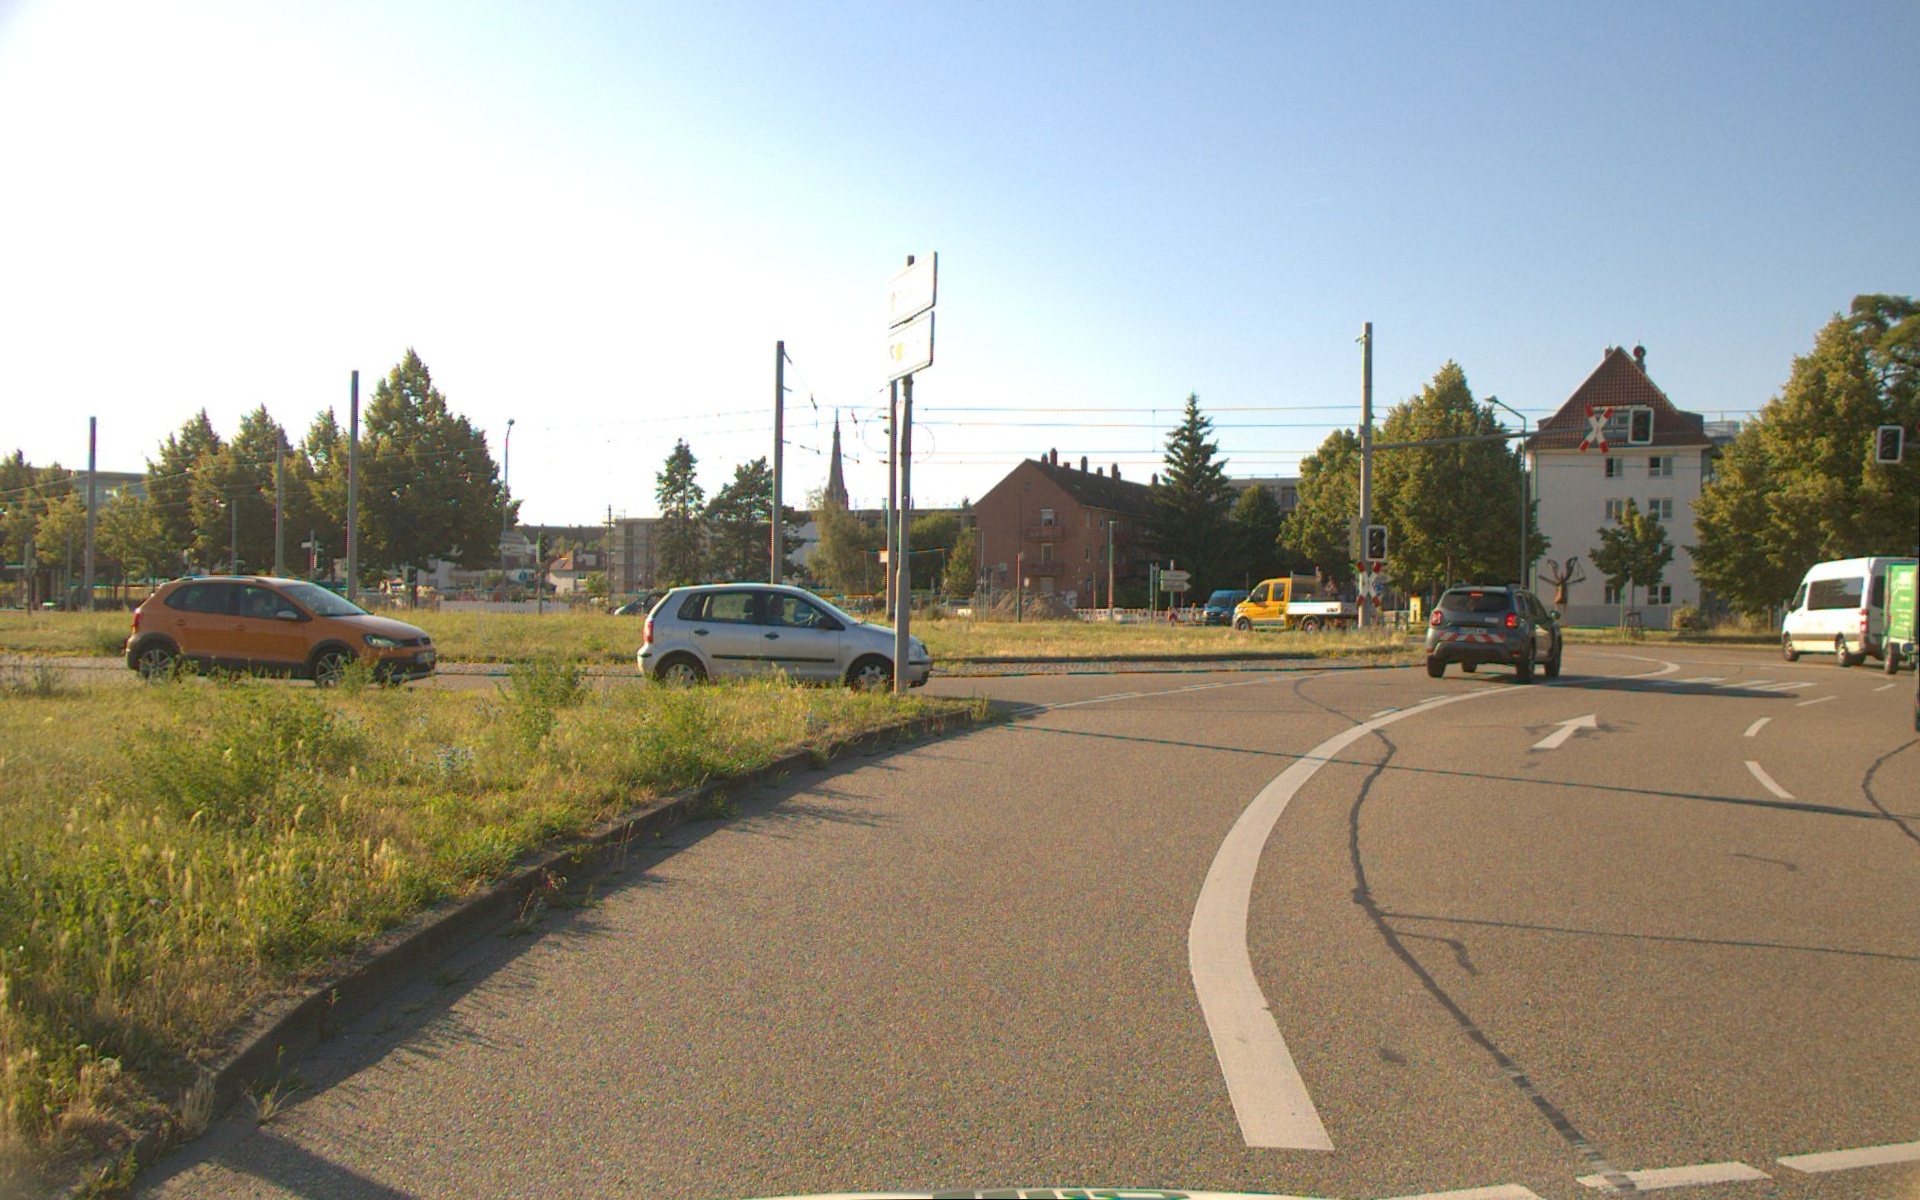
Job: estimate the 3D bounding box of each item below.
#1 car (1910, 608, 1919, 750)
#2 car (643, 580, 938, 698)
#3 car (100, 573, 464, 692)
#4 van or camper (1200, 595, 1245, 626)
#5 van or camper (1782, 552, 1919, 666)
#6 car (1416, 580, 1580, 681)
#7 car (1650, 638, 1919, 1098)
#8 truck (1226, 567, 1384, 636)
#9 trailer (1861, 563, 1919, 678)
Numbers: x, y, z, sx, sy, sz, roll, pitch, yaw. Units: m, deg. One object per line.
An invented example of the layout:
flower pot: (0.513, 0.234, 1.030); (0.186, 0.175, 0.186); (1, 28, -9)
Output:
car: (11.873, 0.851, 18.624); (1.717, 1.499, 3.806); (0, 0, 35)
car: (-2.169, 0.492, 21.661); (3.673, 1.459, 1.834); (1, 0, -4)
car: (-8.925, 0.408, 21.969); (4.038, 1.470, 1.910); (0, 0, 6)
van or camper: (19.244, 0.770, 121.082); (2.053, 2.192, 4.418); (0, 0, 27)
van or camper: (23.291, 0.250, 42.539); (2.236, 2.675, 6.588); (2, 0, 12)
car: (9.778, 0.539, 29.903); (1.871, 1.689, 3.989); (0, -1, 33)
car: (4.304, 1.018, 6.184); (1.570, 1.638, 3.997); (1, 0, -4)
truck: (13.660, 0.061, 65.898); (2.557, 2.603, 6.179); (1, 0, -33)
trailer: (21.475, 0.493, 36.763); (2.047, 2.442, 3.500); (2, 0, 21)
